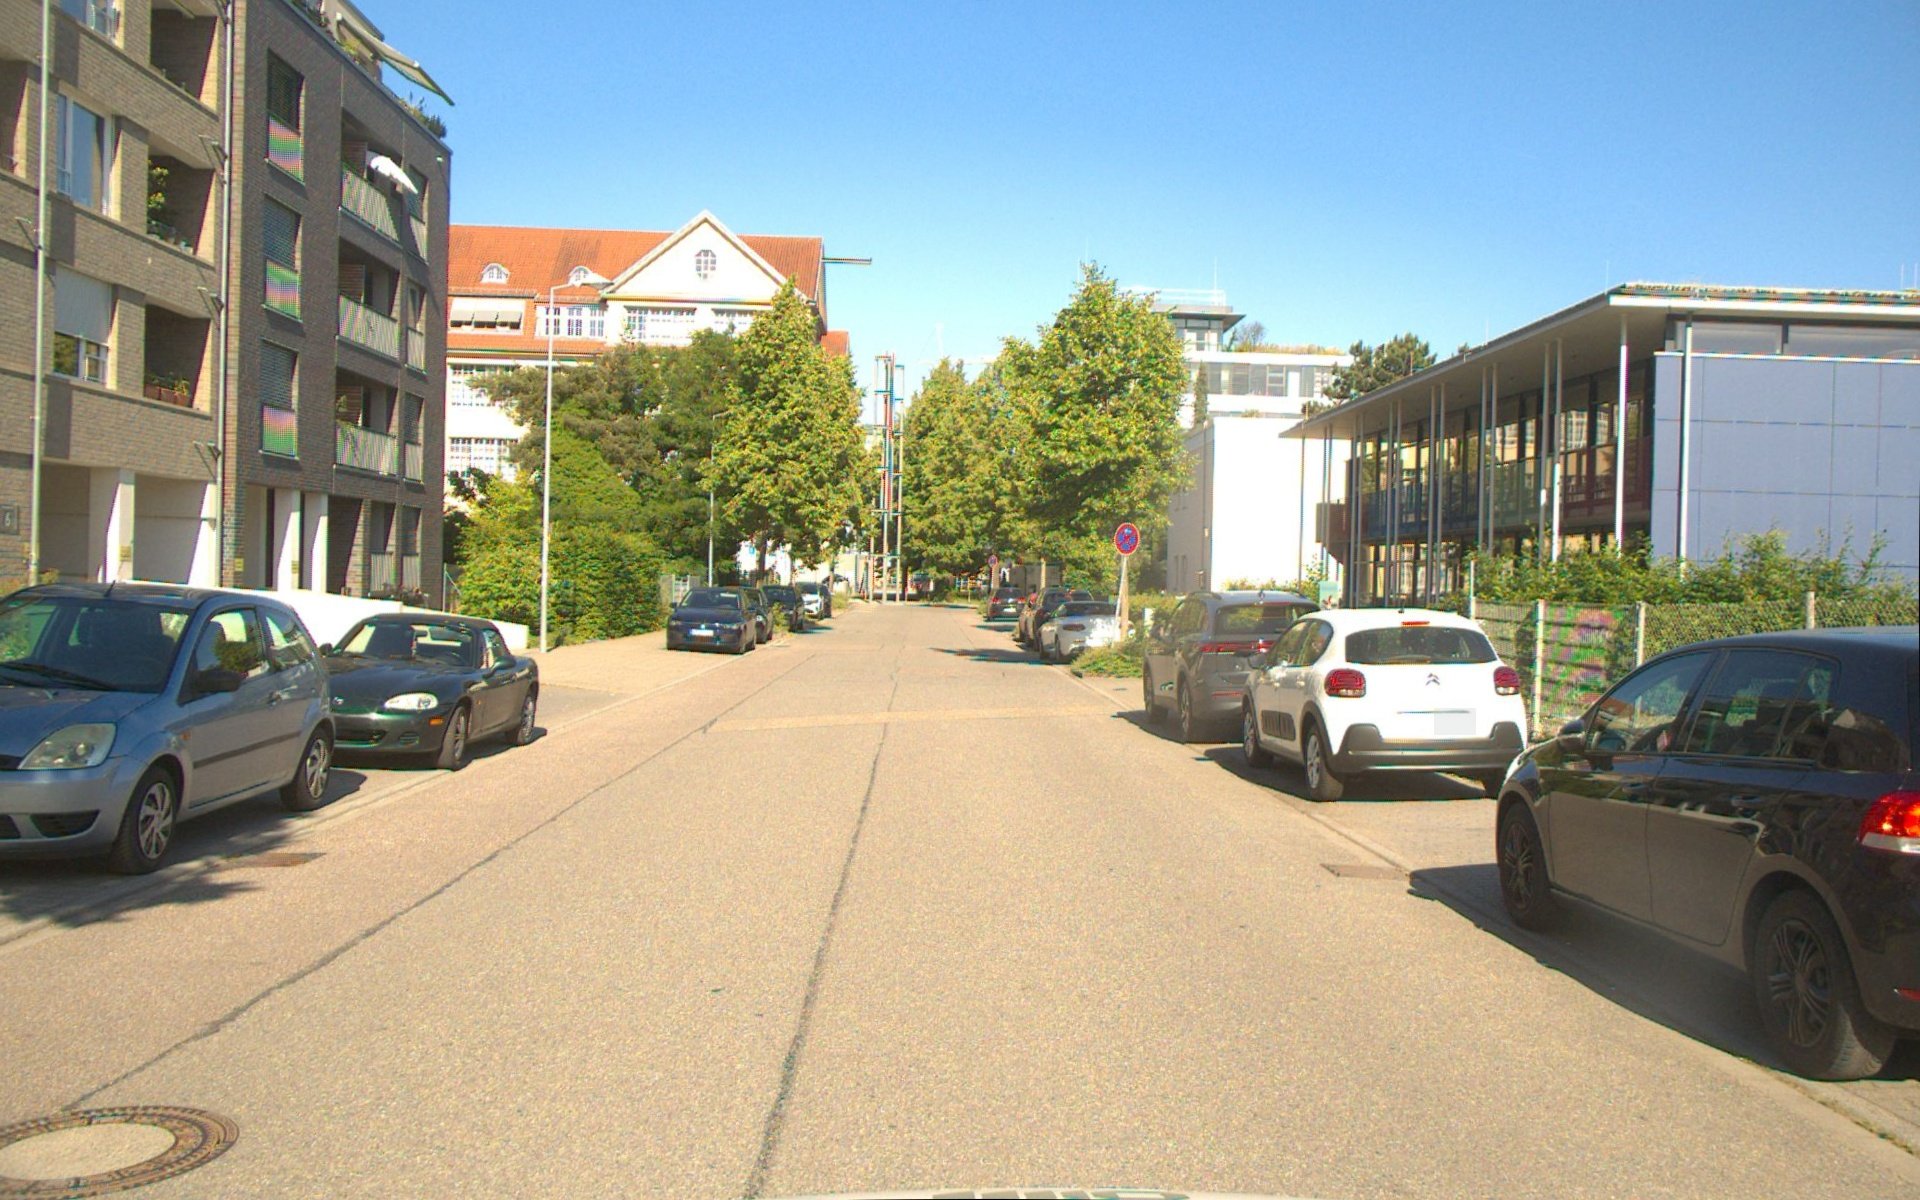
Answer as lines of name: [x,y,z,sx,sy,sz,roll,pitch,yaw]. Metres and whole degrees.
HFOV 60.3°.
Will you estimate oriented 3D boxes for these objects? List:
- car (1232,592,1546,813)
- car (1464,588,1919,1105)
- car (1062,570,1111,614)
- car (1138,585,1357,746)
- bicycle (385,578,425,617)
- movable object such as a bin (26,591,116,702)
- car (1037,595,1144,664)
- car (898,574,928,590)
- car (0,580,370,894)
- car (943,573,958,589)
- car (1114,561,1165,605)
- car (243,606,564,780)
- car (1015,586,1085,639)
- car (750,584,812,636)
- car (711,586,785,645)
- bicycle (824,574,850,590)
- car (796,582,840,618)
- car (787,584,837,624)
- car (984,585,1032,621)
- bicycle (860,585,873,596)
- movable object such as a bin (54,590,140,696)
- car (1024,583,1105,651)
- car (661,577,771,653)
car: [3.589,0.778,14.534,1.646,1.569,3.848,1,1,-2]
car: [3.601,0.756,6.838,1.653,1.520,4.076,1,0,-2]
car: [6.201,-0.384,81.153,1.983,2.049,3.999,1,0,-1]
car: [3.272,0.671,19.608,1.691,1.681,4.324,-1,0,-2]
bicycle: [-12.647,-0.066,37.731,0.248,0.852,1.775,1,1,2]
movable object such as a bin: [-9.250,0.477,17.221,0.595,1.109,0.636,1,1,-3]
car: [2.943,0.648,38.136,1.793,1.447,4.229,-1,0,-5]
car: [-6.363,-2.477,223.409,3.905,2.048,2.000,1,1,-1]
car: [-4.940,0.643,9.859,1.578,1.490,3.872,1,0,-3]
car: [-1.297,-2.547,224.888,1.953,2.048,4.000,1,1,-1]
car: [8.789,-0.840,81.308,1.953,2.049,3.999,1,0,-1]
car: [-4.867,0.744,15.018,1.566,1.238,3.875,3,0,-1]
car: [2.757,0.360,51.287,1.797,1.542,3.879,1,0,-2]
car: [-5.855,0.307,54.434,1.660,1.633,3.941,1,0,-1]
car: [-5.761,0.399,45.229,1.597,1.527,3.576,1,0,-1]
bicycle: [-6.872,-1.018,92.409,1.438,0.857,0.335,1,1,-6]
car: [-6.267,-0.011,73.161,1.666,1.496,3.460,1,0,-1]
car: [-6.014,0.171,67.667,1.741,1.557,3.999,1,0,-1]
car: [2.140,0.116,74.571,1.953,1.512,3.999,1,0,-1]
bicycle: [-6.338,-0.668,112.375,0.370,0.695,1.066,1,2,-37]
movable object such as a bin: [-9.365,0.458,17.968,0.595,1.102,0.636,1,1,-3]
car: [2.814,0.434,45.283,1.784,1.749,4.118,-1,0,-2]
car: [-5.617,0.325,38.519,1.725,1.554,4.001,4,0,2]
